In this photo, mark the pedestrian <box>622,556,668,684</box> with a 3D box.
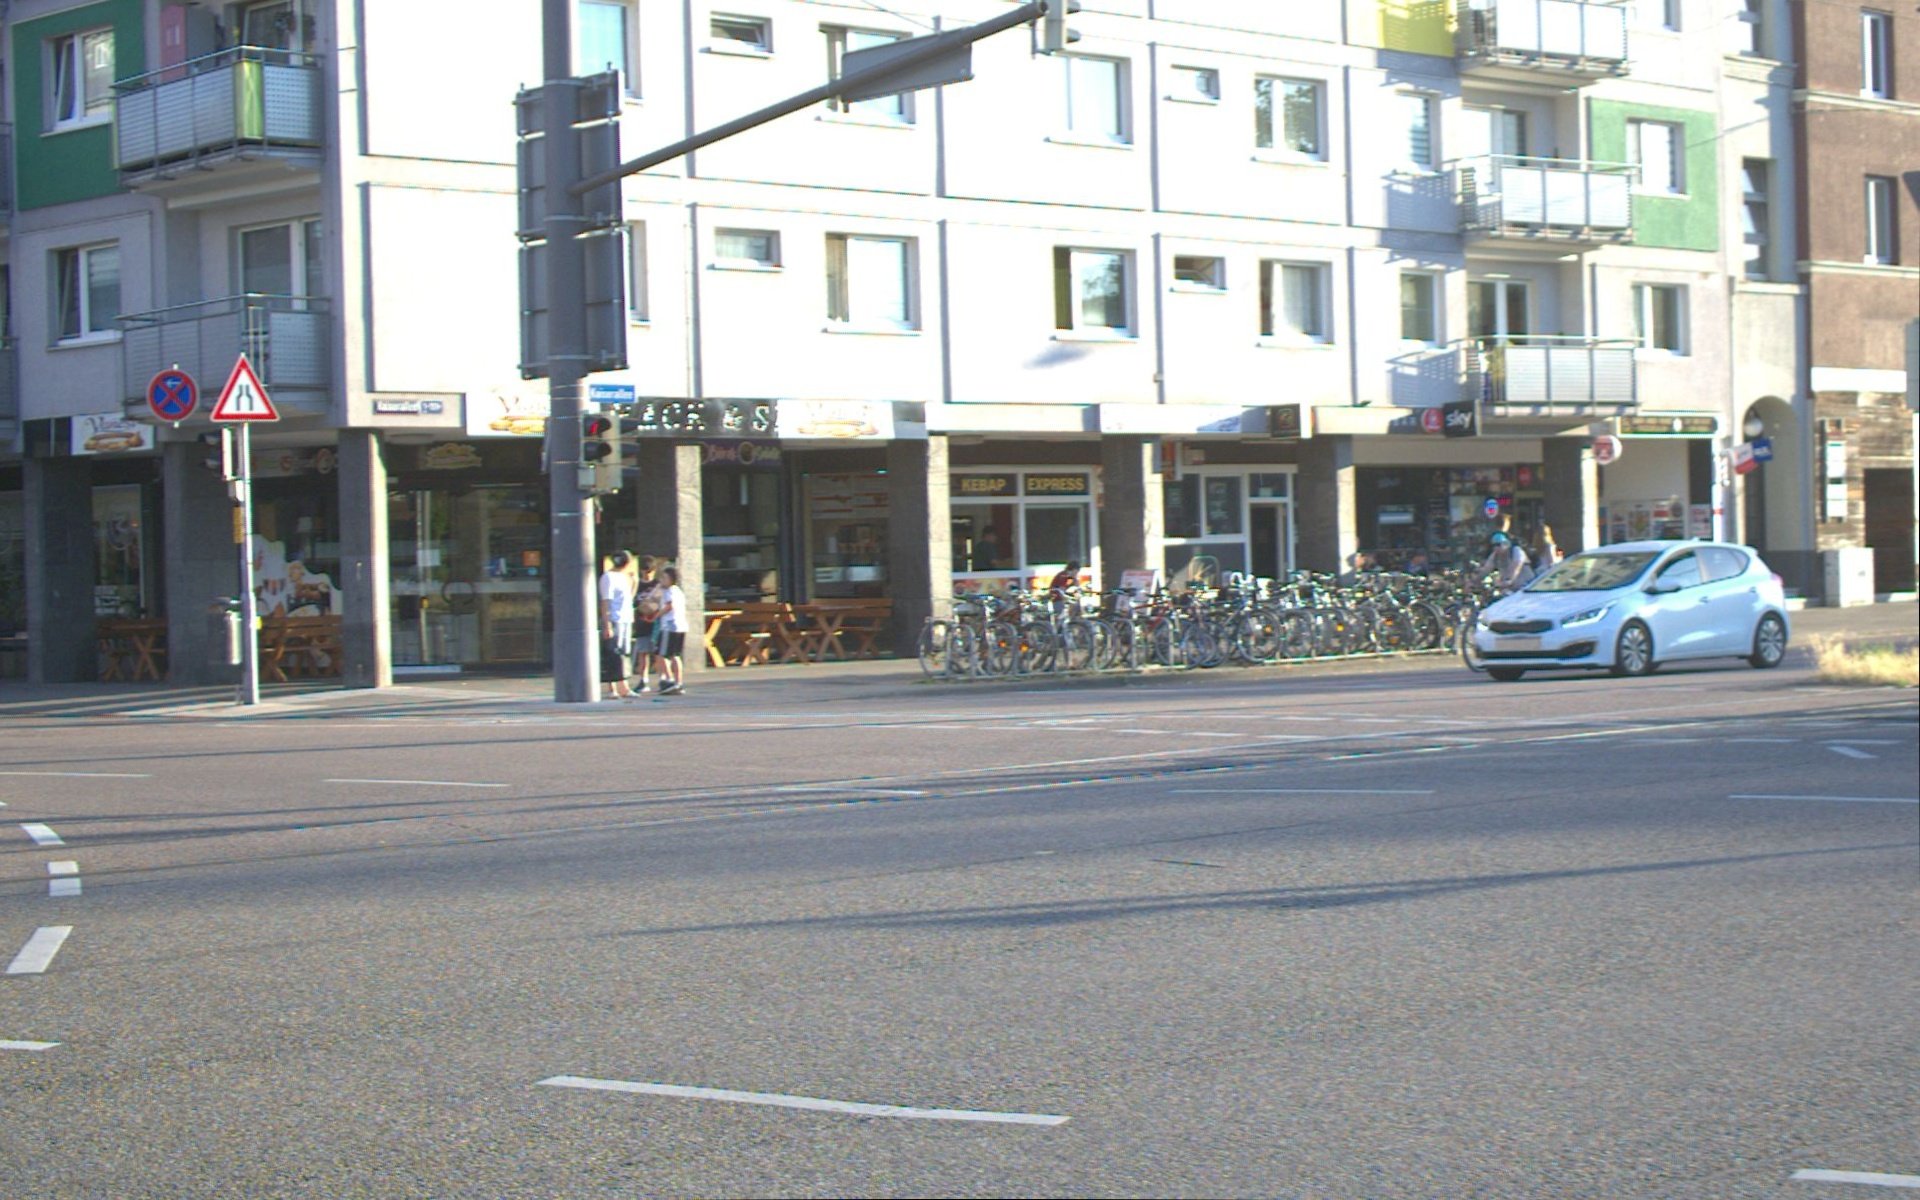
[{"bbox_3d":[-3.607,0.230,39.378,0.377,1.443,0.394,-1,1,18],"label":"pedestrian"}]

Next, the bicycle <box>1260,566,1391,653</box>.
[{"bbox_3d":[4.794,0.120,45.126,0.550,1.113,1.759,-2,2,-44],"label":"bicycle"}]

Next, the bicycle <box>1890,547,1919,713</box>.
[{"bbox_3d":[7.047,0.190,22.190,1.905,1.071,0.631,0,2,38],"label":"bicycle"}]

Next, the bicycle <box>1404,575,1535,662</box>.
[{"bbox_3d":[7.066,0.244,47.735,0.746,1.166,1.695,-2,2,-43],"label":"bicycle"}]

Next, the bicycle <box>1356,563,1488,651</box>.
[{"bbox_3d":[6.231,0.083,46.410,0.703,1.149,1.695,-2,2,-43],"label":"bicycle"}]

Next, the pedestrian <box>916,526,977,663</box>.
[{"bbox_3d":[-0.167,-0.073,42.887,0.545,1.678,0.581,-2,1,-23],"label":"pedestrian"}]

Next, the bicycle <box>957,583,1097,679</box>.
[{"bbox_3d":[0.806,0.369,42.010,0.607,1.138,1.781,-2,2,-45],"label":"bicycle"}]

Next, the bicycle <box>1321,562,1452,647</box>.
[{"bbox_3d":[5.697,0.052,45.961,0.632,1.120,1.732,-1,1,-43],"label":"bicycle"}]

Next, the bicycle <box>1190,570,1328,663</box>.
[{"bbox_3d":[3.847,0.204,44.331,0.604,1.155,1.781,-2,2,-45],"label":"bicycle"}]

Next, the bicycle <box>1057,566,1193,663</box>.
[{"bbox_3d":[2.021,0.172,42.378,0.539,1.163,1.770,-2,2,-44],"label":"bicycle"}]

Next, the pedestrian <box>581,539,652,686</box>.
[{"bbox_3d":[-3.811,0.135,38.185,0.571,1.614,0.603,-1,1,14],"label":"pedestrian"}]

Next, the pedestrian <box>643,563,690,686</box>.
[{"bbox_3d":[-3.307,0.274,38.783,0.381,1.378,0.395,-1,1,17],"label":"pedestrian"}]

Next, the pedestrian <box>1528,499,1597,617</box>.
[{"bbox_3d":[9.458,-0.657,53.949,0.788,1.835,0.733,0,1,37],"label":"pedestrian"}]

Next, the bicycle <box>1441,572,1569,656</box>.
[{"bbox_3d":[7.633,0.180,48.197,0.695,1.140,1.695,-2,2,-43],"label":"bicycle"}]

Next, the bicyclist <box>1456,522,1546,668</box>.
[{"bbox_3d":[6.575,-0.065,41.760,0.789,1.736,0.704,-2,1,-33],"label":"bicyclist"}]

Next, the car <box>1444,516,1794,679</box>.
[{"bbox_3d":[7.176,-0.057,37.239,3.989,1.612,1.694,-2,2,-44],"label":"car"}]

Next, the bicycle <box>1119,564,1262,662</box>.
[{"bbox_3d":[2.889,0.152,43.261,0.650,1.187,1.793,-2,2,-45],"label":"bicycle"}]

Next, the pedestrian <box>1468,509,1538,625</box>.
[{"bbox_3d":[8.604,-0.523,54.432,0.828,1.806,0.719,0,2,35],"label":"pedestrian"}]

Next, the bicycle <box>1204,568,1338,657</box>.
[{"bbox_3d":[4.062,0.153,45.020,0.604,1.132,1.776,-2,2,-44],"label":"bicycle"}]

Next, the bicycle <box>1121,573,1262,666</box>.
[{"bbox_3d":[2.968,0.244,44.224,0.638,1.156,1.835,-2,2,-44],"label":"bicycle"}]

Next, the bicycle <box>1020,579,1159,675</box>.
[{"bbox_3d":[1.580,0.320,42.068,0.598,1.135,1.761,-2,2,-44],"label":"bicycle"}]

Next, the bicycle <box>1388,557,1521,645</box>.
[{"bbox_3d":[6.744,0.006,46.936,0.746,1.175,1.695,-2,2,-43],"label":"bicycle"}]

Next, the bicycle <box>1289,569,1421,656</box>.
[{"bbox_3d":[5.227,0.158,45.522,0.566,1.115,1.765,-2,2,-44],"label":"bicycle"}]

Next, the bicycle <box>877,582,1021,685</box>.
[{"bbox_3d":[-0.143,0.393,41.544,1.799,1.204,0.636,0,2,45],"label":"bicycle"}]

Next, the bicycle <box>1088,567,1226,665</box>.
[{"bbox_3d":[2.441,0.188,42.787,0.567,1.177,1.774,-2,2,-45],"label":"bicycle"}]
